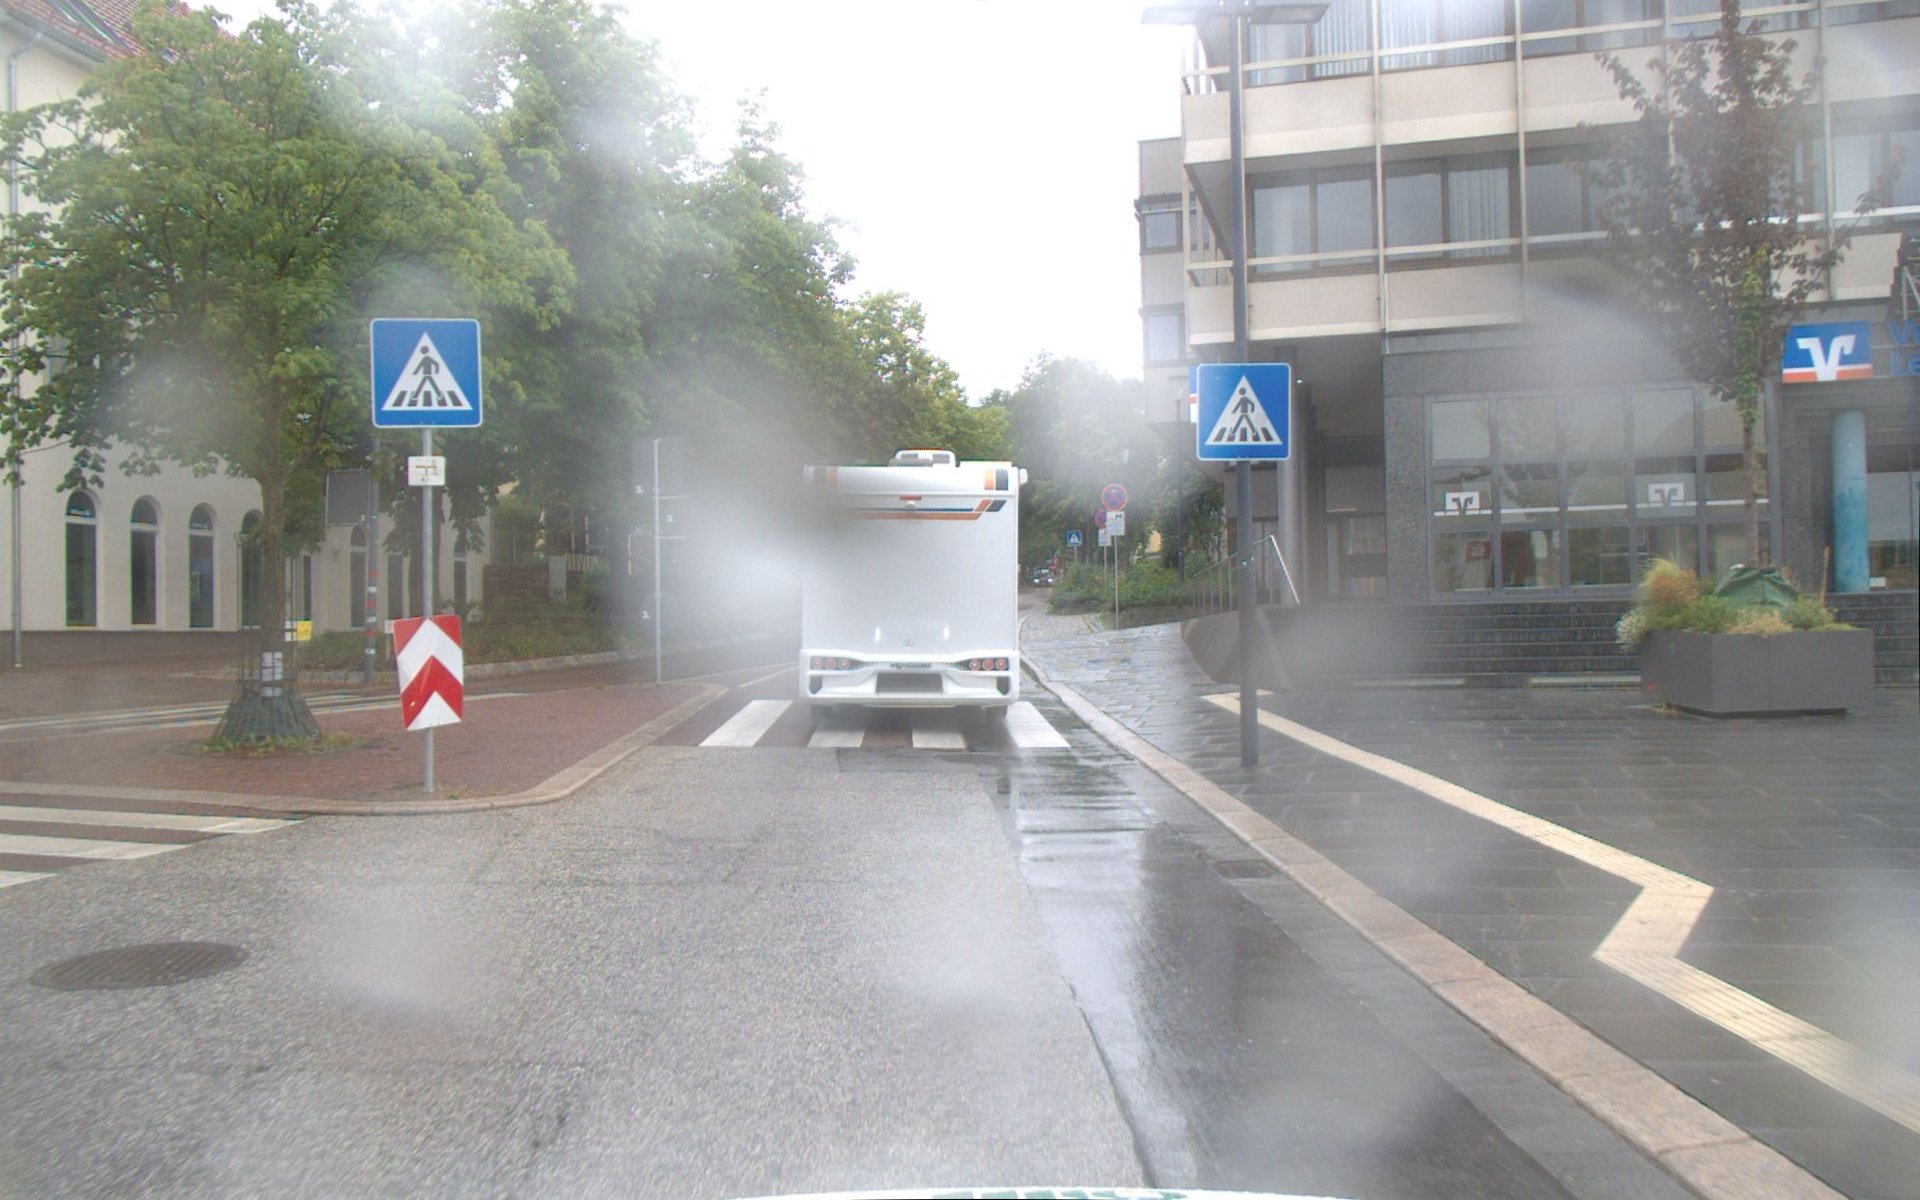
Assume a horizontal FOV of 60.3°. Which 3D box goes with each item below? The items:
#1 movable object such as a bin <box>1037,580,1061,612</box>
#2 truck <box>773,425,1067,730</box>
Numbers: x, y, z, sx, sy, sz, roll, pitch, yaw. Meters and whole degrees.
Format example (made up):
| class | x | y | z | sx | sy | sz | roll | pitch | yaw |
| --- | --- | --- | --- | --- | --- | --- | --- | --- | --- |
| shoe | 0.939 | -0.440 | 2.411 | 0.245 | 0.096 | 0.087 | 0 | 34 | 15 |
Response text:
| class | x | y | z | sx | sy | sz | roll | pitch | yaw |
| --- | --- | --- | --- | --- | --- | --- | --- | --- | --- |
| movable object such as a bin | 3.270 | -0.162 | 60.702 | 0.689 | 1.144 | 0.571 | -3 | -1 | 21 |
| truck | -0.441 | -0.193 | 19.128 | 2.749 | 2.845 | 6.105 | -2 | -1 | -1 |
